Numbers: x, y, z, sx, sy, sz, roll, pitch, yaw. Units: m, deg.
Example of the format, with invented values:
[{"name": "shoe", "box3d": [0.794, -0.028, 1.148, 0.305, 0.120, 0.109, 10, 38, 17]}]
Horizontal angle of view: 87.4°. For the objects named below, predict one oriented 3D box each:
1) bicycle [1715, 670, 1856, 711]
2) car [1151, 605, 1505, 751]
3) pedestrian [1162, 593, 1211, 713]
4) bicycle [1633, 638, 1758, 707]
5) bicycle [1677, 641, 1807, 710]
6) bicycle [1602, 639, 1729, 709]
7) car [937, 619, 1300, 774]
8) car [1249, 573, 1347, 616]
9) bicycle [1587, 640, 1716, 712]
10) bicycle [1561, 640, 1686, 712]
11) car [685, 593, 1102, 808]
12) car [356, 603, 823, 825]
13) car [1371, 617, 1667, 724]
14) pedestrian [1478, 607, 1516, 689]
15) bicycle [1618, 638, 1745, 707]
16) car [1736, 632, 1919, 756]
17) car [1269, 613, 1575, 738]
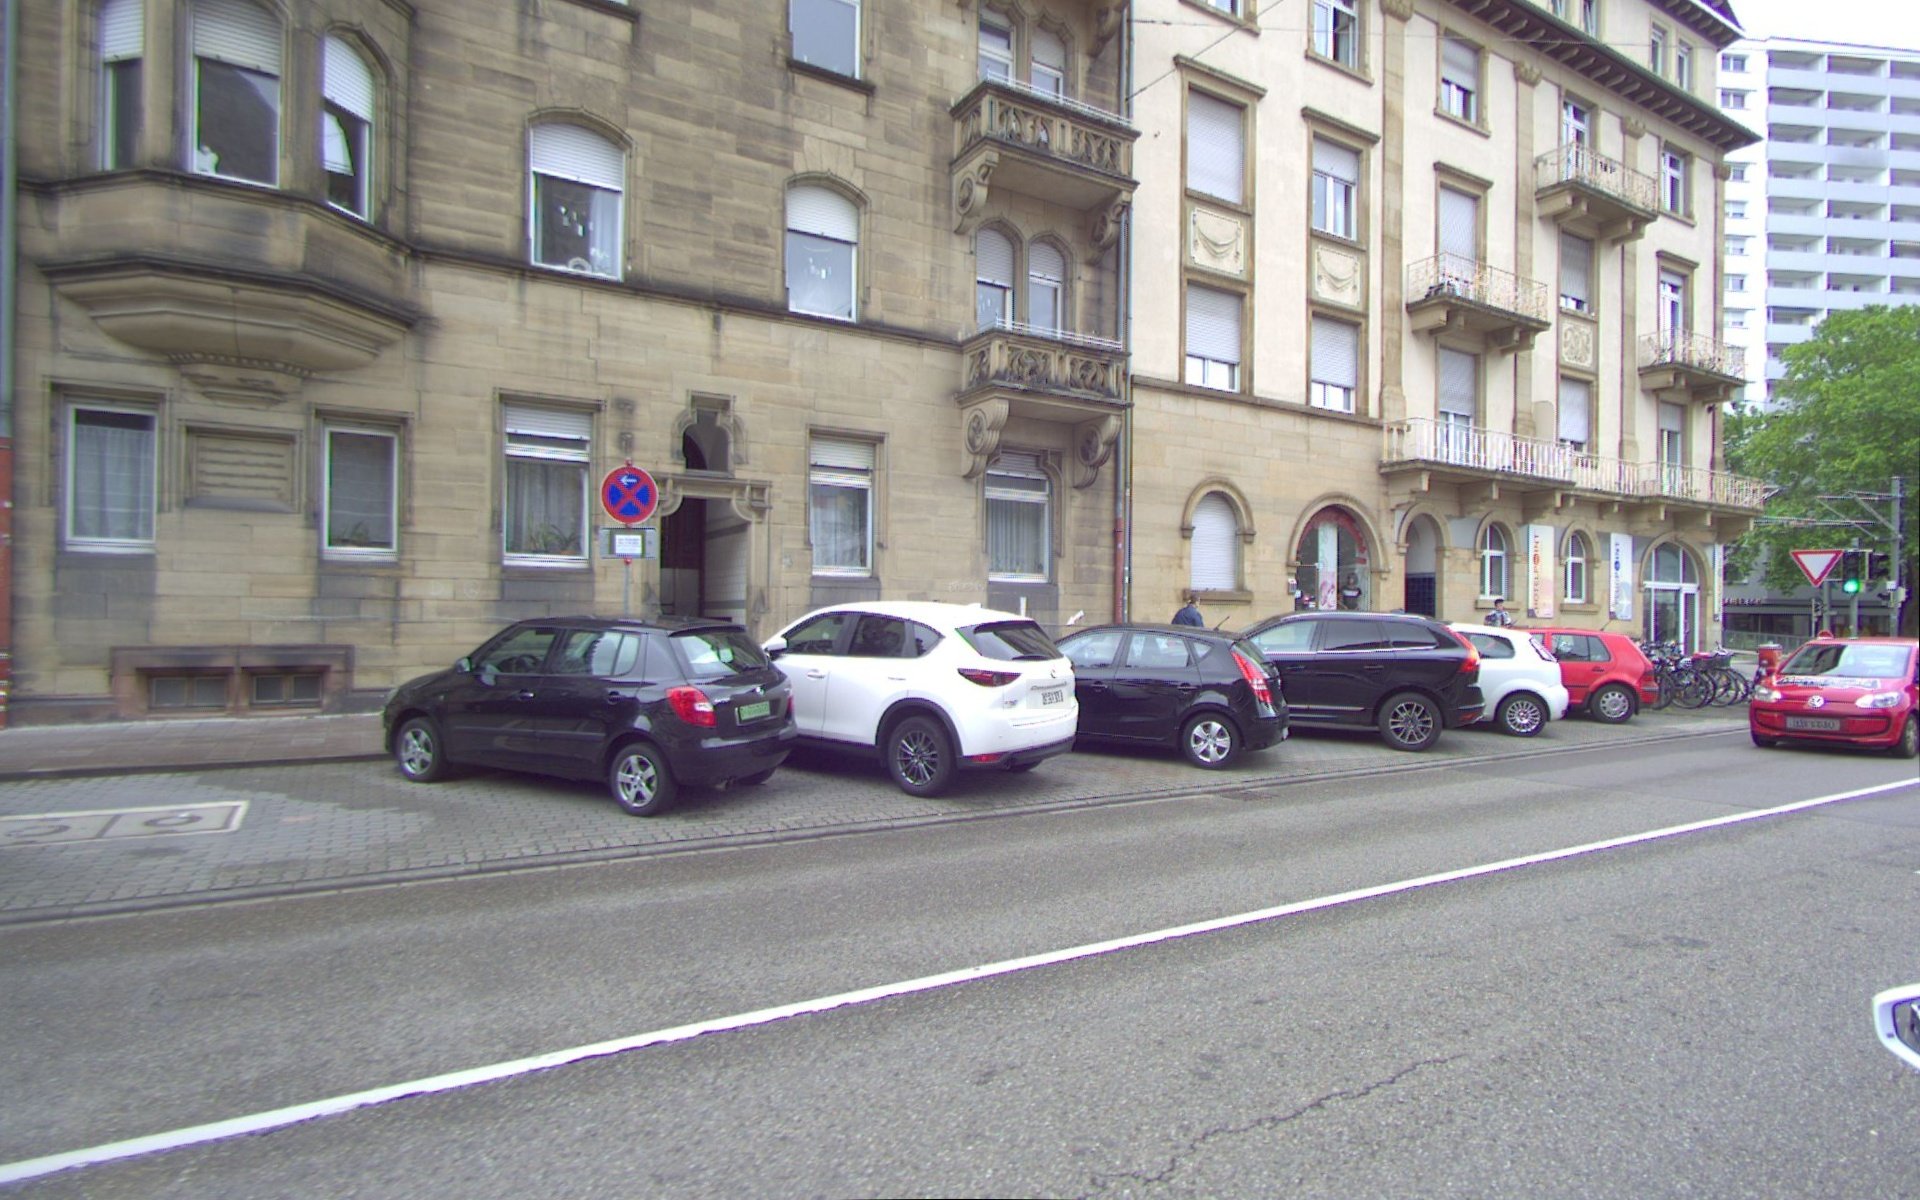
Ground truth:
[{"name": "bicycle", "box3d": [16.059, 1.740, 19.581, 1.017, 0.451, 1.876, -1, 5, -31]}, {"name": "car", "box3d": [4.769, 0.947, 13.420, 4.141, 1.673, 1.732, 1, -1, 18]}, {"name": "pedestrian", "box3d": [3.836, 0.893, 17.056, 0.544, 1.984, 0.616, 1, -1, -29]}, {"name": "bicycle", "box3d": [14.283, 1.382, 19.568, 0.437, 1.050, 1.876, 0, 5, -31]}, {"name": "bicycle", "box3d": [15.019, 1.423, 19.350, 0.437, 1.050, 1.876, 0, 5, -31]}, {"name": "bicycle", "box3d": [13.204, 1.360, 18.870, 0.437, 1.050, 1.876, 0, 5, -31]}, {"name": "car", "box3d": [1.880, 1.022, 11.892, 3.923, 1.514, 1.731, 1, -1, 23]}, {"name": "car", "box3d": [7.257, -0.101, 21.524, 1.991, 0.845, 0.909, 2, -1, -30]}, {"name": "bicycle", "box3d": [12.755, 1.367, 18.589, 0.437, 1.050, 1.876, 0, 5, -31]}, {"name": "bicycle", "box3d": [12.017, 1.351, 18.258, 0.436, 1.050, 1.879, 1, 3, -26]}, {"name": "car", "box3d": [-0.756, 0.840, 10.150, 3.935, 1.746, 1.835, 1, -1, 36]}, {"name": "car", "box3d": [-3.251, 0.857, 8.842, 3.738, 1.517, 1.569, 2, 0, 22]}, {"name": "car", "box3d": [9.062, 1.096, 16.616, 3.919, 1.492, 1.685, 1, 1, 12]}, {"name": "pedestrian", "box3d": [12.077, 1.069, 22.595, 0.544, 1.809, 0.564, 1, -1, -29]}, {"name": "bicycle", "box3d": [13.759, 1.352, 19.218, 0.437, 1.050, 1.876, 0, 5, -31]}, {"name": "car", "box3d": [12.277, 1.171, 13.593, 3.470, 1.466, 1.641, 1, -1, -30]}, {"name": "car", "box3d": [6.704, 1.051, 15.012, 3.920, 1.492, 1.564, 2, 2, 18]}]
